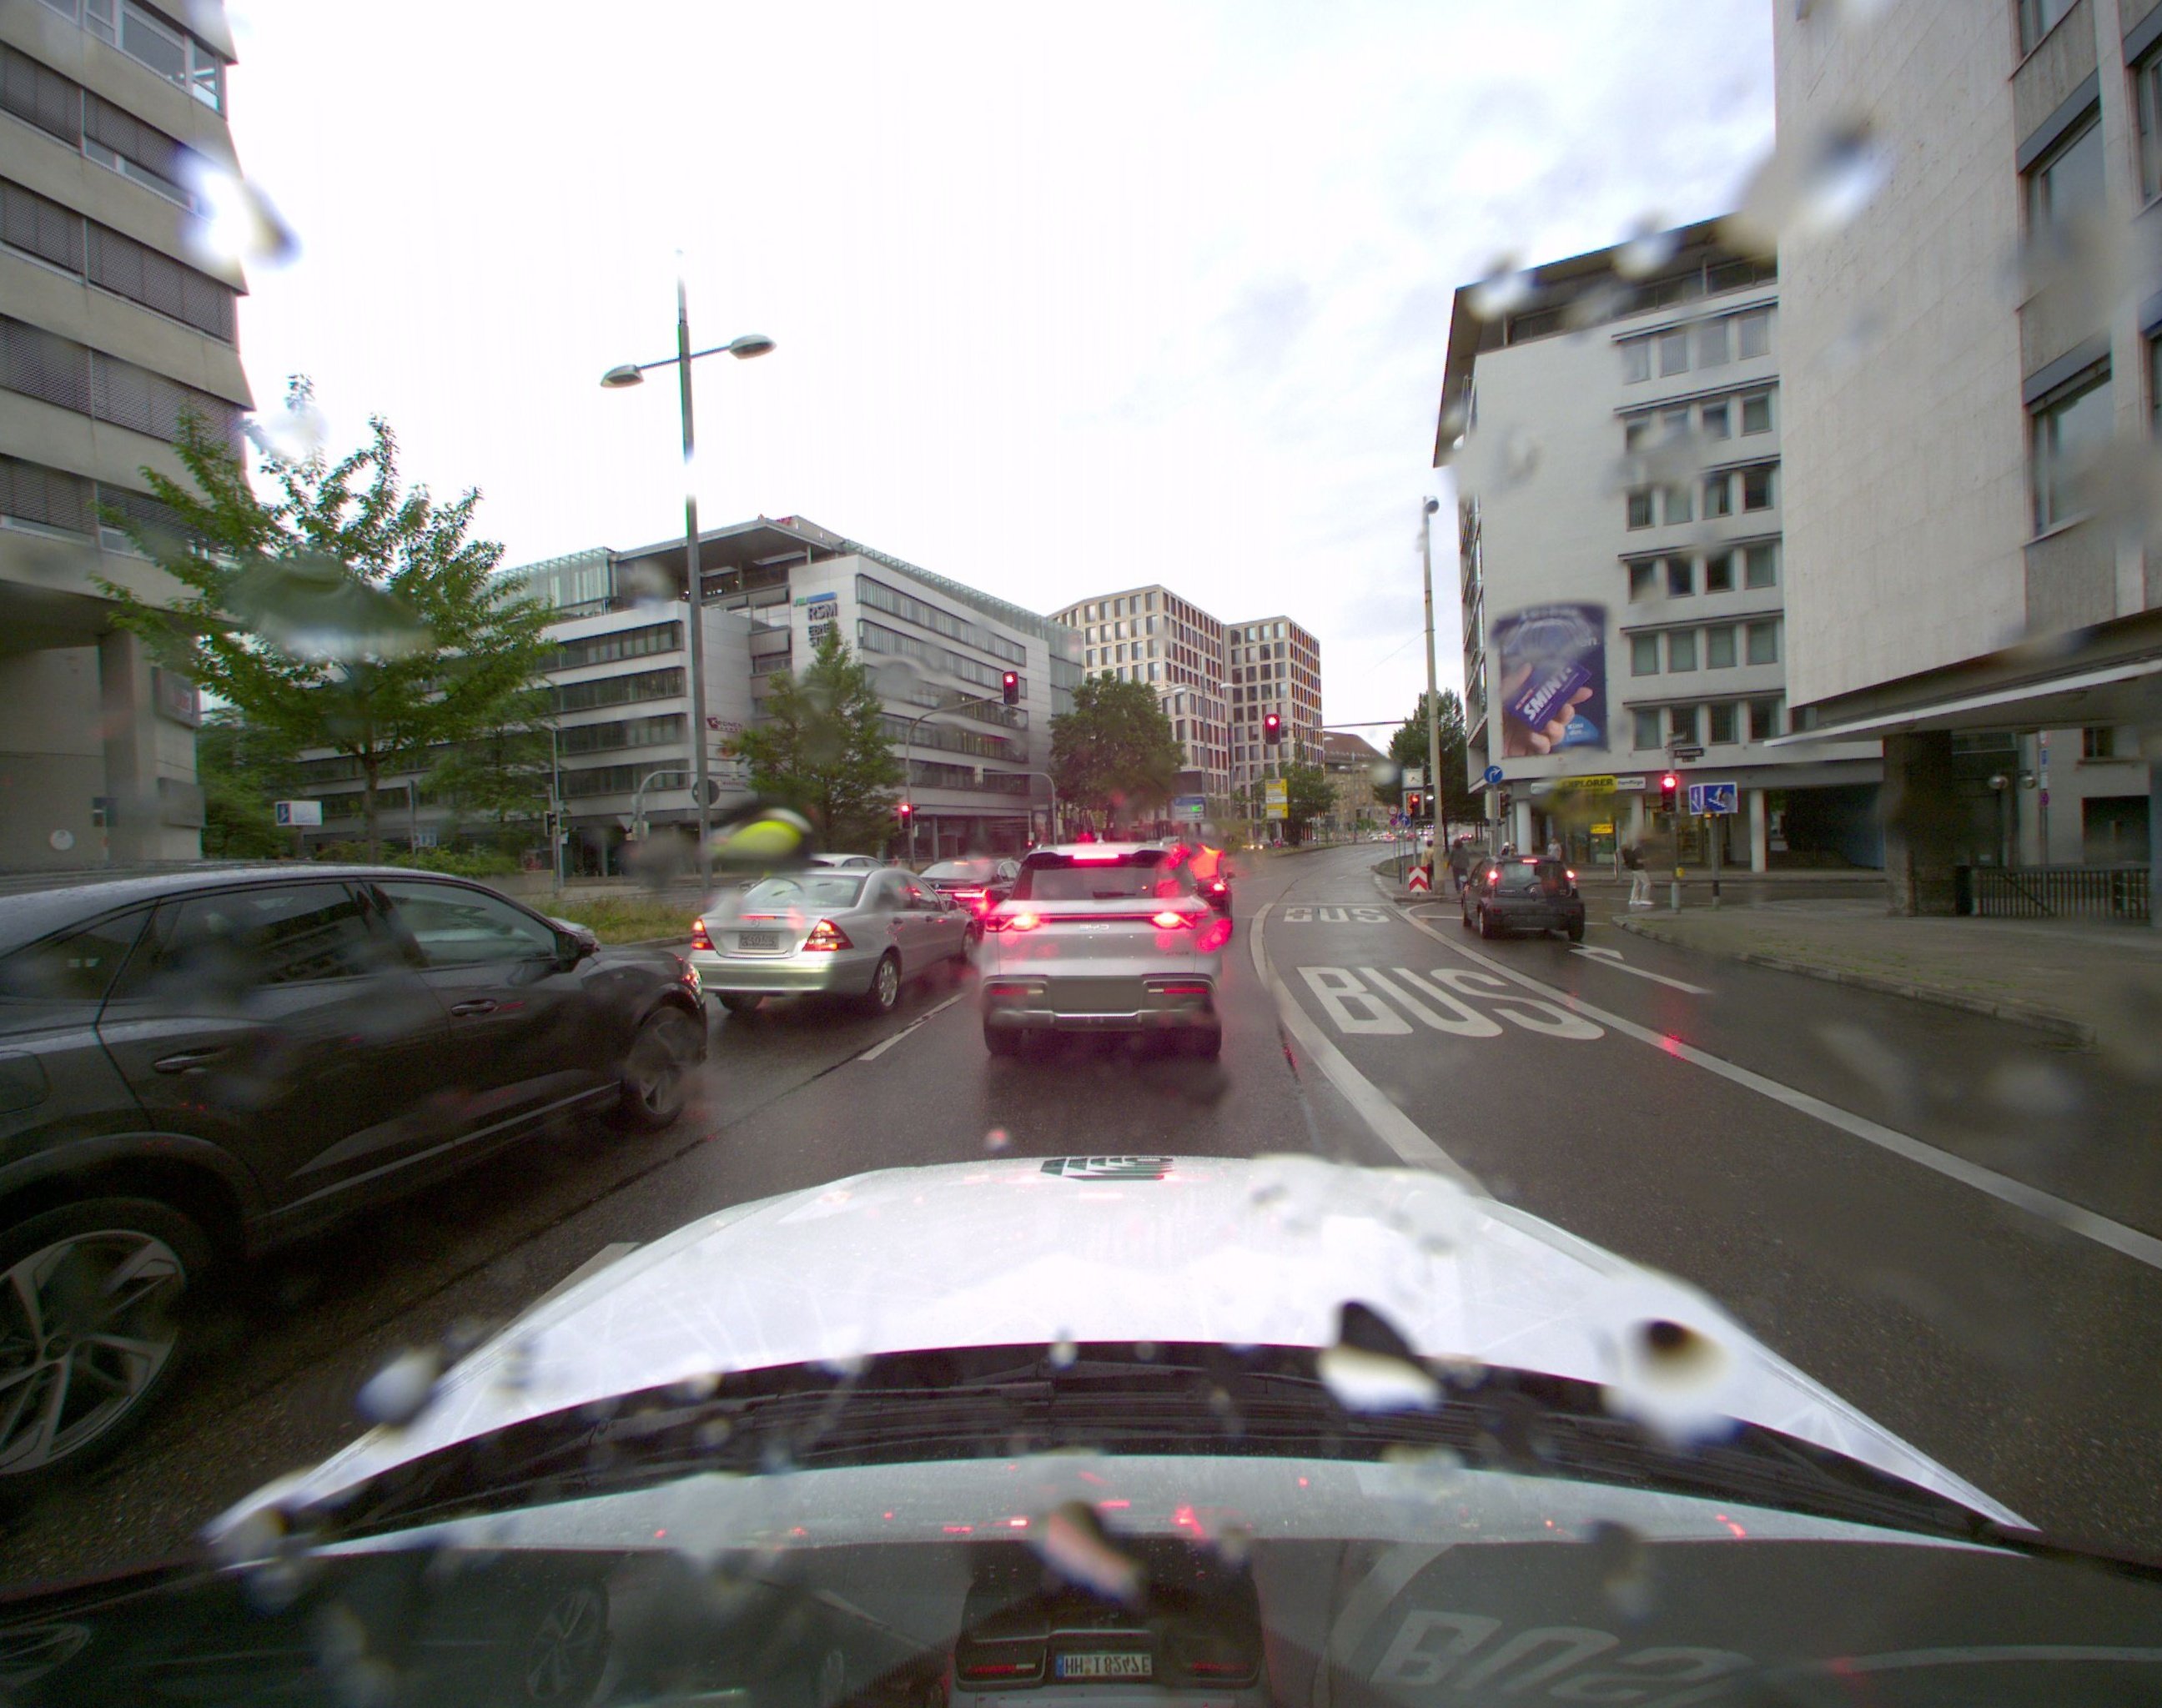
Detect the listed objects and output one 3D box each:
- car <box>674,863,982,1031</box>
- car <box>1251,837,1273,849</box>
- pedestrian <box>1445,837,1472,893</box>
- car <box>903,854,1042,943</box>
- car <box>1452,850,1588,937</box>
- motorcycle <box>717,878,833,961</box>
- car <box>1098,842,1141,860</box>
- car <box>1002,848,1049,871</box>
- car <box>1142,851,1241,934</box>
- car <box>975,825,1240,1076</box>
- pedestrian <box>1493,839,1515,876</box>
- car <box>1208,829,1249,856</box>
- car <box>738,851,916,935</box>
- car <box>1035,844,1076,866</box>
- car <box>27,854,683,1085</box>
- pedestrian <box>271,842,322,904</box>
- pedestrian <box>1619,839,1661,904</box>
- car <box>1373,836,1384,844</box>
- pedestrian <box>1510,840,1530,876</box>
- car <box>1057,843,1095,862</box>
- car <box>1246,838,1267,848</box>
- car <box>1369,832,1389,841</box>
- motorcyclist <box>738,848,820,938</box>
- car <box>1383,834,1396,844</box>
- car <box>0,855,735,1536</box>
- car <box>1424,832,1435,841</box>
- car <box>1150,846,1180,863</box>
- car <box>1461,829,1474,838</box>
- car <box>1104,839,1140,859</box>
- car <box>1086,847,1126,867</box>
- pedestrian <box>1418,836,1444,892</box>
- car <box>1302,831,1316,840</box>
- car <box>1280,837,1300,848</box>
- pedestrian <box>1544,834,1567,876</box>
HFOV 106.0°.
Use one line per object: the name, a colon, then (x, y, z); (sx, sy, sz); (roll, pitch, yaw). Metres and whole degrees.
car: (-2.460, 0.825, 9.085); (1.561, 1.407, 4.120); (-1, -1, 10)
car: (25.492, -1.575, 114.702); (1.974, 1.488, 4.025); (-1, 1, 29)
pedestrian: (12.272, 0.347, 26.493); (0.742, 1.798, 0.821); (-1, 1, 22)
car: (-1.923, 0.768, 15.677); (1.561, 1.486, 4.010); (-1, -1, 9)
car: (8.170, 0.667, 15.485); (1.558, 1.429, 4.018); (-1, -1, 18)
motorcycle: (-4.860, 1.000, 13.096); (0.795, 1.185, 2.034); (-1, -1, 11)
car: (3.675, -0.308, 76.999); (1.796, 1.510, 5.229); (-1, 1, 30)
car: (-4.183, 0.407, 62.019); (1.976, 1.610, 4.022); (-1, 0, 22)
car: (2.380, 0.709, 16.713); (1.682, 1.486, 4.013); (-1, -1, 12)
car: (0.311, 0.668, 7.495); (1.768, 1.679, 4.004); (-1, -1, 4)
pedestrian: (19.003, 0.140, 36.583); (0.657, 1.655, 0.662); (-1, 0, -45)
car: (11.788, -0.878, 64.893); (1.975, 2.014, 4.876); (-1, -1, 25)
car: (-4.957, 0.705, 16.529); (1.696, 1.486, 4.013); (-1, -1, 11)
car: (-1.829, 0.055, 59.707); (1.630, 1.536, 4.172); (-1, 0, 18)
car: (-6.192, 0.796, 7.990); (1.856, 1.533, 4.784); (-1, 0, 5)
pedestrian: (-21.733, 0.518, 22.568); (0.672, 1.683, 0.766); (-1, 0, 15)
pedestrian: (15.118, 0.462, 22.041); (0.764, 1.731, 0.599); (-1, 0, 16)
car: (59.249, -2.842, 162.224); (1.616, 1.437, 3.931); (-1, 1, 25)
pedestrian: (19.459, 0.176, 36.095); (0.657, 1.543, 0.618); (-1, 0, -45)
car: (-0.407, -0.113, 69.195); (1.623, 1.571, 3.741); (-1, -1, 27)
car: (26.401, -1.668, 122.565); (1.974, 1.488, 4.025); (-1, 1, 29)
car: (69.927, -4.066, 191.063); (3.949, 2.013, 2.012); (-1, 0, 28)
motorcyclist: (-4.855, 0.610, 13.152); (0.765, 1.380, 1.121); (-1, -1, 11)
car: (53.781, -2.535, 141.786); (1.871, 1.643, 4.023); (-1, 0, 24)
car: (-3.221, 0.786, 3.317); (1.642, 1.521, 4.274); (-1, 0, 2)
car: (85.122, -4.321, 198.846); (1.975, 2.013, 4.025); (-1, 0, 29)
car: (8.855, 0.051, 85.487); (1.616, 1.559, 4.620); (-1, 1, 25)
car: (70.714, -3.720, 149.038); (1.677, 1.486, 4.025); (-1, -1, 32)
car: (3.522, -0.440, 69.198); (1.629, 1.581, 4.109); (-1, 0, 23)
car: (1.813, 0.205, 58.866); (1.675, 1.385, 3.888); (-1, -1, 21)
pedestrian: (11.572, 0.327, 26.973); (0.742, 1.798, 0.821); (-1, 1, 22)
car: (45.576, -3.696, 162.686); (1.590, 1.741, 3.467); (-1, -1, 34)
car: (32.097, -1.802, 125.013); (1.974, 1.488, 4.025); (-1, 1, 29)
pedestrian: (20.580, 0.038, 35.283); (0.778, 1.794, 0.662); (-1, 0, -45)
